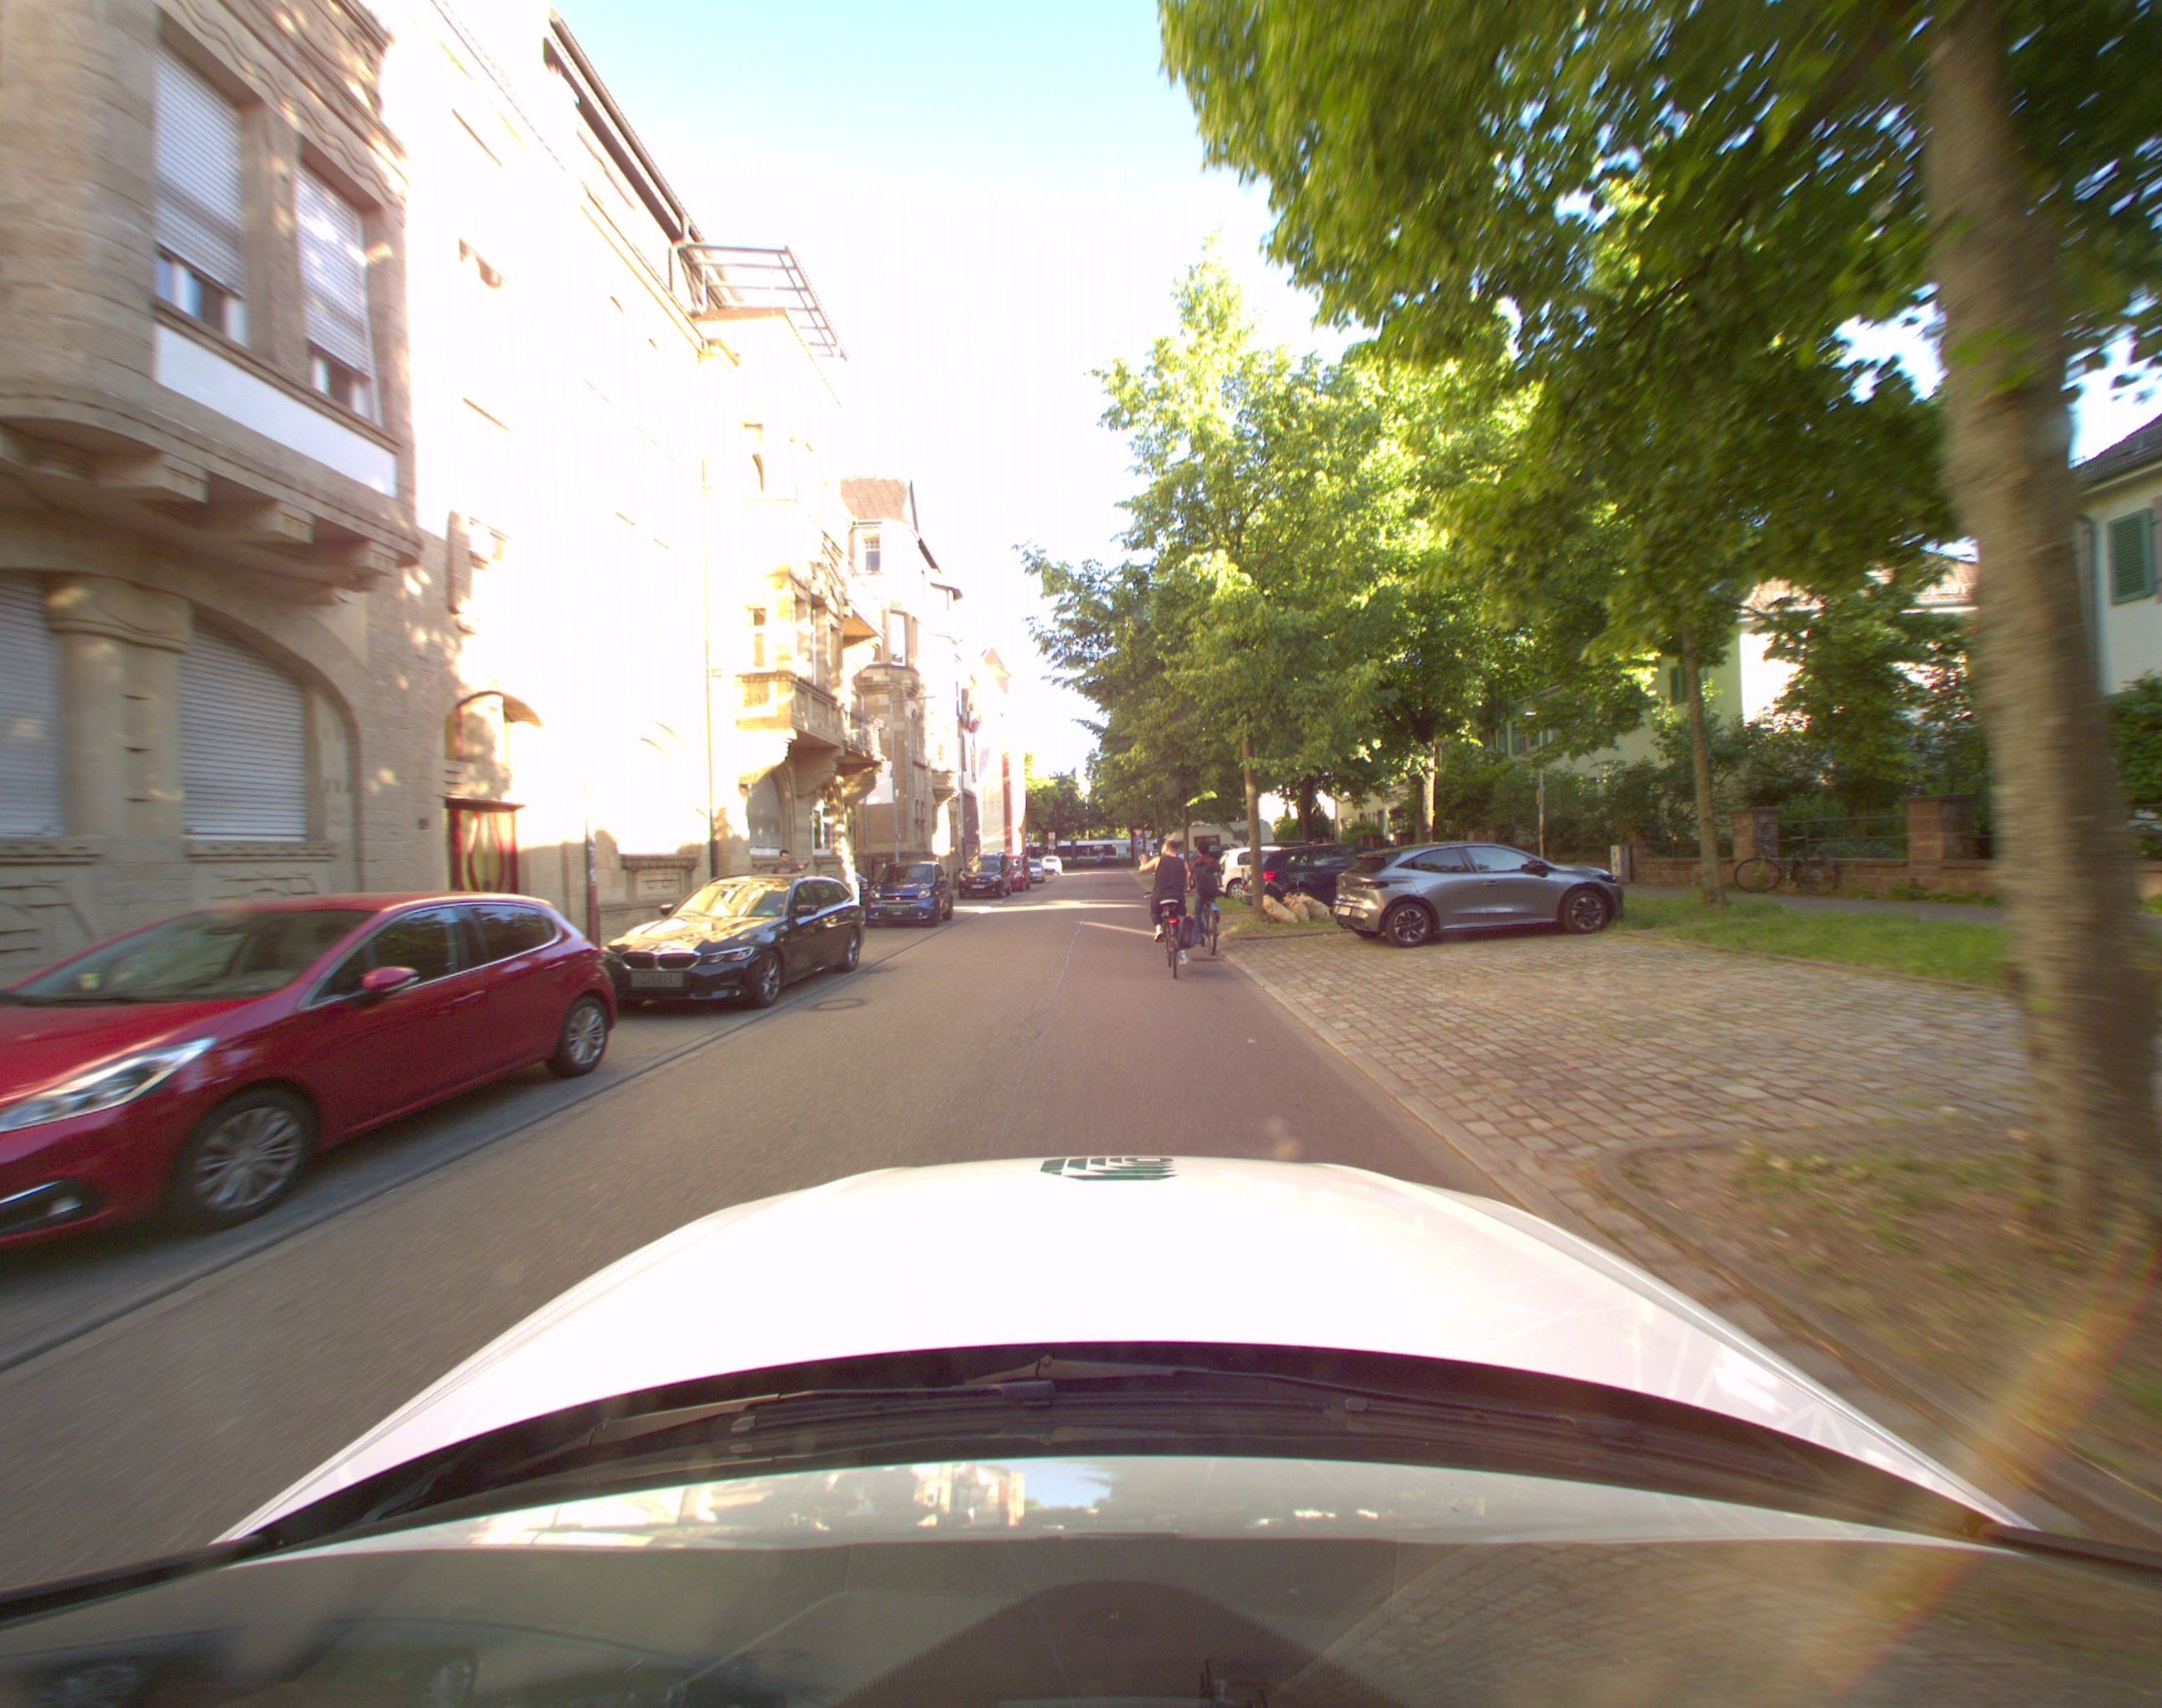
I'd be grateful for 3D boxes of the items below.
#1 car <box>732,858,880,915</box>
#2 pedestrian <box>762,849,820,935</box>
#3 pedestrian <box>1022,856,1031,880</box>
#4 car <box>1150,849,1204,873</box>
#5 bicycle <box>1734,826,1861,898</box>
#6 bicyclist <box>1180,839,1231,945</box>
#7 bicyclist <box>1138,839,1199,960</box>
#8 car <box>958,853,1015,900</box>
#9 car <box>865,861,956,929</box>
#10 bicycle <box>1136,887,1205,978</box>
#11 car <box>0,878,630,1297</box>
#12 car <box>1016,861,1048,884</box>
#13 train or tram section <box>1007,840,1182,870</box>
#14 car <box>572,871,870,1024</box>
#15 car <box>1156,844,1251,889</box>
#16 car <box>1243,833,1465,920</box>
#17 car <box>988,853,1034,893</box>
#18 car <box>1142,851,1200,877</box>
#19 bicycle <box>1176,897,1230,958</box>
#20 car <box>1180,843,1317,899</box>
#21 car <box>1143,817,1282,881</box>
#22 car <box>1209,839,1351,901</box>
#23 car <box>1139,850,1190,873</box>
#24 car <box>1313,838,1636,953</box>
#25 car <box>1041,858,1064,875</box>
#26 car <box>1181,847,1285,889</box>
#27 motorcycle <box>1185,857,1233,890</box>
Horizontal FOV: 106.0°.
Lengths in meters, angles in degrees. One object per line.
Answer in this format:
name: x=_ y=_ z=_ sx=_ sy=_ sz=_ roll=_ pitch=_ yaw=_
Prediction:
car: x=-8.876 y=1.027 z=26.513 sx=4.185 sy=1.668 sz=1.718 roll=-1 pitch=0 yaw=0
pedestrian: x=-6.085 y=0.785 z=17.125 sx=0.934 sy=1.742 sz=0.735 roll=-1 pitch=-1 yaw=2
pedestrian: x=-4.035 y=1.047 z=60.003 sx=0.607 sy=1.762 sz=0.432 roll=-1 pitch=-1 yaw=2
car: x=7.421 y=0.561 z=63.119 sx=3.975 sy=1.803 sz=1.833 roll=-1 pitch=-1 yaw=-1
bicycle: x=12.272 y=0.138 z=14.023 sx=0.562 sy=1.128 sz=1.820 roll=-3 pitch=-1 yaw=2
bicyclist: x=1.998 y=0.589 z=13.145 sx=0.686 sy=1.626 sz=0.999 roll=-1 pitch=-1 yaw=2
bicyclist: x=1.146 y=0.588 z=10.872 sx=0.727 sy=1.548 sz=0.884 roll=0 pitch=-1 yaw=0
car: x=-3.754 y=0.853 z=33.166 sx=1.634 sy=1.783 sz=4.357 roll=0 pitch=0 yaw=2
car: x=-4.121 y=0.944 z=20.036 sx=1.590 sy=1.489 sz=2.736 roll=1 pitch=0 yaw=0
bicycle: x=1.147 y=0.997 z=10.865 sx=0.735 sy=1.054 sz=1.956 roll=0 pitch=-1 yaw=1
car: x=-4.637 y=0.947 z=4.971 sx=1.624 sy=1.453 sz=3.836 roll=-1 pitch=0 yaw=-1
car: x=-3.019 y=1.133 z=50.827 sx=1.577 sy=1.343 sz=4.134 roll=0 pitch=0 yaw=2
train or tram section: x=2.060 y=0.099 z=110.907 sx=23.891 sy=3.708 sz=4.256 roll=0 pitch=-1 yaw=-21
car: x=-4.255 y=0.991 z=10.553 sx=1.669 sy=1.430 sz=4.553 roll=0 pitch=0 yaw=2
car: x=5.620 y=0.575 z=37.707 sx=4.070 sy=1.650 sz=1.640 roll=-5 pitch=-1 yaw=-1
car: x=5.792 y=0.501 z=17.669 sx=4.205 sy=1.600 sz=1.692 roll=-3 pitch=-2 yaw=3
car: x=-3.378 y=0.873 z=39.872 sx=1.682 sy=1.825 sz=4.275 roll=0 pitch=0 yaw=2
car: x=6.519 y=0.715 z=59.381 sx=3.975 sy=1.803 sz=1.833 roll=-1 pitch=-1 yaw=-1
bicycle: x=1.950 y=1.153 z=13.203 sx=0.631 sy=0.799 sz=1.833 roll=-3 pitch=0 yaw=2
car: x=5.403 y=0.576 z=26.643 sx=4.121 sy=1.600 sz=1.704 roll=-3 pitch=-2 yaw=3
car: x=7.144 y=-0.256 z=44.937 sx=7.126 sy=2.978 sz=2.463 roll=-4 pitch=-1 yaw=-1
car: x=5.780 y=0.492 z=24.011 sx=3.757 sy=1.600 sz=1.692 roll=-3 pitch=-2 yaw=3
car: x=6.845 y=0.630 z=67.267 sx=3.975 sy=1.803 sz=1.833 roll=-1 pitch=-1 yaw=-1
car: x=5.762 y=0.576 z=12.226 sx=4.022 sy=1.454 sz=1.689 roll=-2 pitch=0 yaw=-3
car: x=-2.384 y=1.020 z=68.386 sx=1.577 sy=1.375 sz=4.134 roll=0 pitch=0 yaw=2
car: x=6.480 y=0.614 z=35.008 sx=4.126 sy=1.600 sz=1.701 roll=-3 pitch=-2 yaw=-1
motorcycle: x=4.717 y=0.727 z=30.021 sx=1.587 sy=1.141 sz=0.677 roll=-3 pitch=-1 yaw=35
